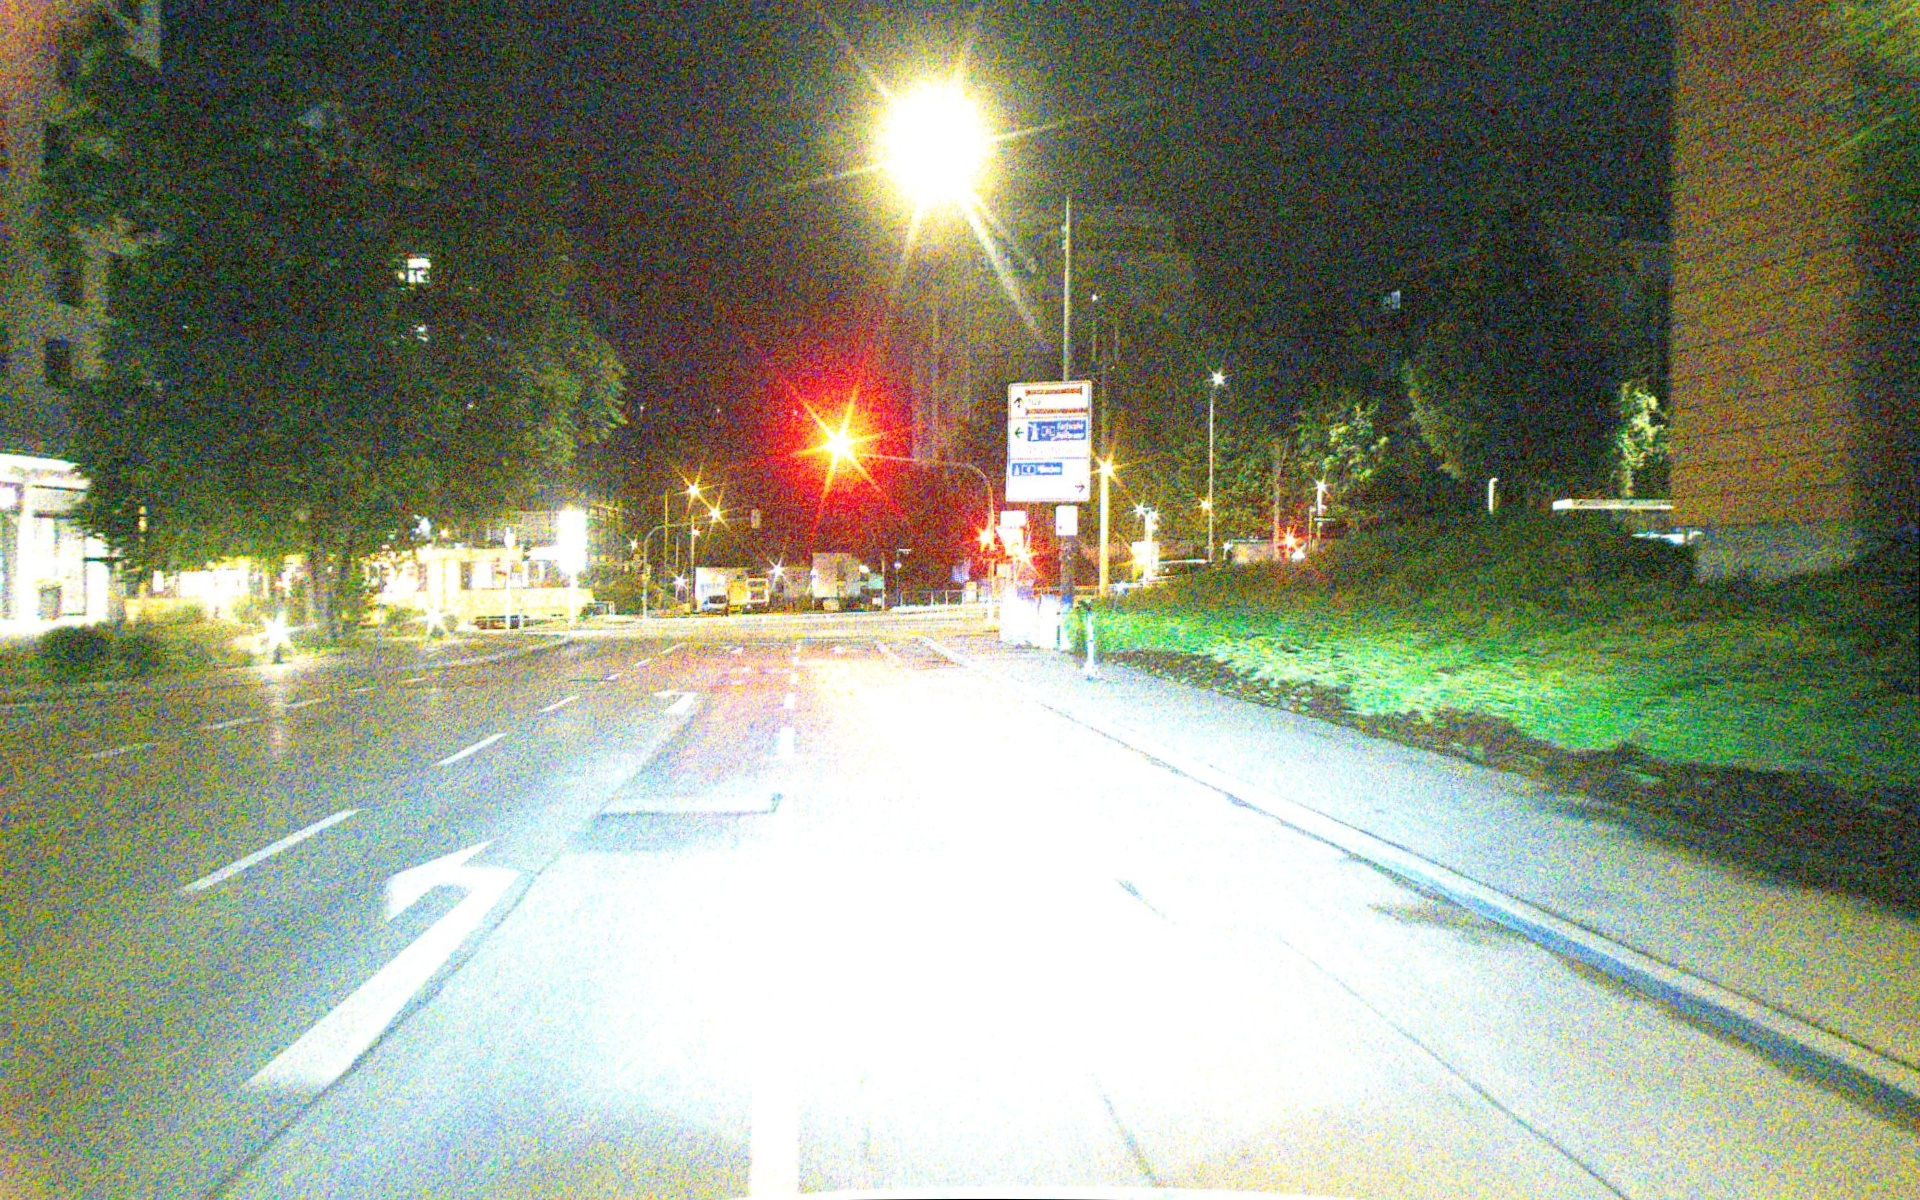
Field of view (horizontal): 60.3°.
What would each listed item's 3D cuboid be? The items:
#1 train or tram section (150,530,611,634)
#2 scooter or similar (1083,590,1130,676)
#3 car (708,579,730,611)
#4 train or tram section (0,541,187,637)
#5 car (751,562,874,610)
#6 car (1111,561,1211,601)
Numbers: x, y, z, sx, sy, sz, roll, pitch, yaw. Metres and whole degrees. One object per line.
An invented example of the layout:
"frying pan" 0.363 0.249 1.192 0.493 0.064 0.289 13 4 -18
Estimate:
"train or tram section" -24.873 -0.763 71.558 18.780 3.890 2.924 -2 0 0
"scooter or similar" 2.282 0.506 25.934 0.484 1.284 1.319 -3 1 -4
"car" -23.480 -0.525 161.137 1.958 3.026 3.990 -1 0 -10
"train or tram section" -43.879 -0.313 71.602 19.386 3.929 2.940 -1 0 0
"car" -15.650 -1.489 175.011 12.199 4.792 4.783 -1 0 -20
"car" 9.693 -0.926 80.101 4.519 1.668 2.000 -3 1 0
